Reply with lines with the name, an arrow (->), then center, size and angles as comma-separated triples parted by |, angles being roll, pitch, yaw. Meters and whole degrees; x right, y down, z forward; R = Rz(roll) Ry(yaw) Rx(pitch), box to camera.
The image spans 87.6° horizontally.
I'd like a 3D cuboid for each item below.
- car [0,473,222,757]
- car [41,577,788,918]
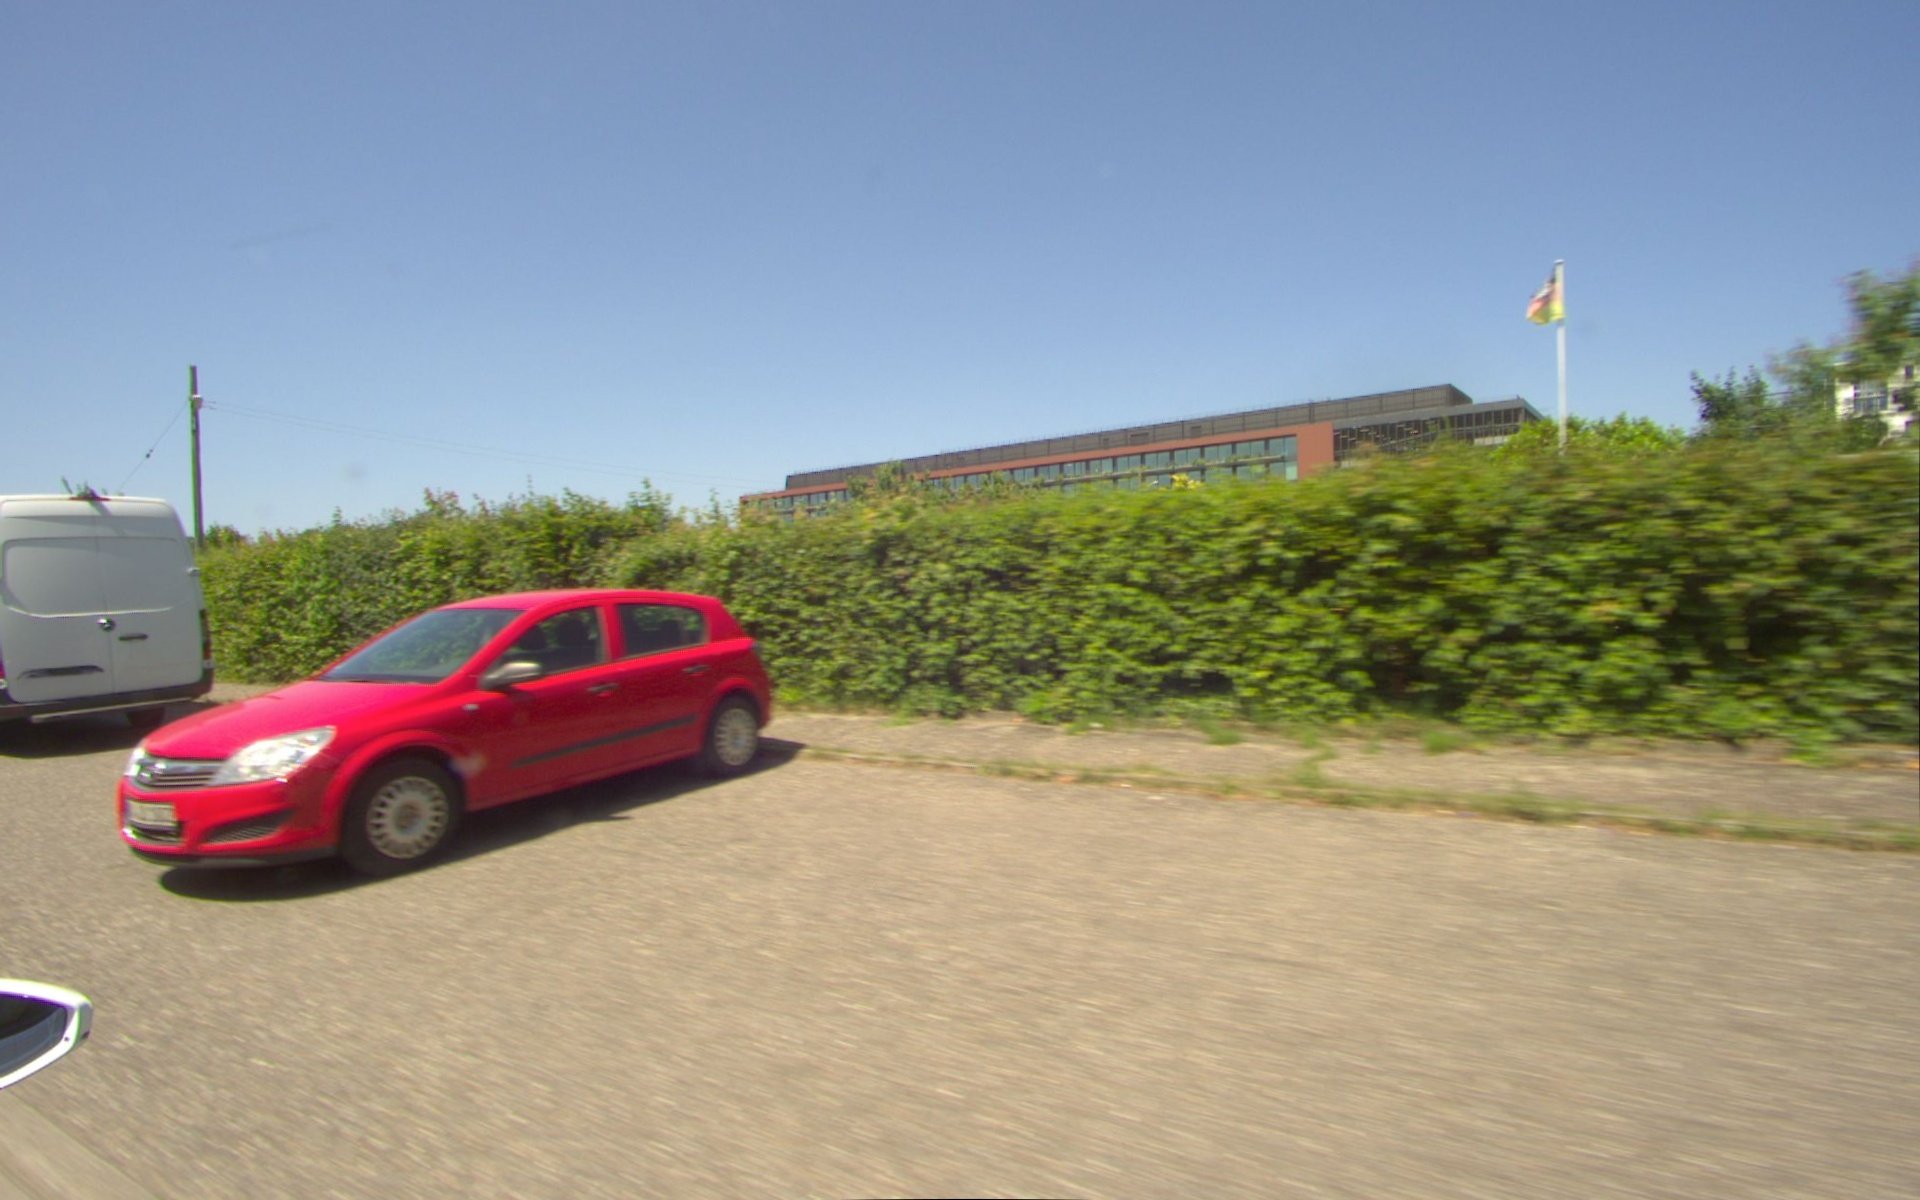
car -> -11.884, 0.170, 12.374 | 7.066, 2.771, 1.948 | -1, 3, 33
car -> -3.173, 0.655, 6.763 | 1.808, 1.454, 4.047 | -1, 2, 29
